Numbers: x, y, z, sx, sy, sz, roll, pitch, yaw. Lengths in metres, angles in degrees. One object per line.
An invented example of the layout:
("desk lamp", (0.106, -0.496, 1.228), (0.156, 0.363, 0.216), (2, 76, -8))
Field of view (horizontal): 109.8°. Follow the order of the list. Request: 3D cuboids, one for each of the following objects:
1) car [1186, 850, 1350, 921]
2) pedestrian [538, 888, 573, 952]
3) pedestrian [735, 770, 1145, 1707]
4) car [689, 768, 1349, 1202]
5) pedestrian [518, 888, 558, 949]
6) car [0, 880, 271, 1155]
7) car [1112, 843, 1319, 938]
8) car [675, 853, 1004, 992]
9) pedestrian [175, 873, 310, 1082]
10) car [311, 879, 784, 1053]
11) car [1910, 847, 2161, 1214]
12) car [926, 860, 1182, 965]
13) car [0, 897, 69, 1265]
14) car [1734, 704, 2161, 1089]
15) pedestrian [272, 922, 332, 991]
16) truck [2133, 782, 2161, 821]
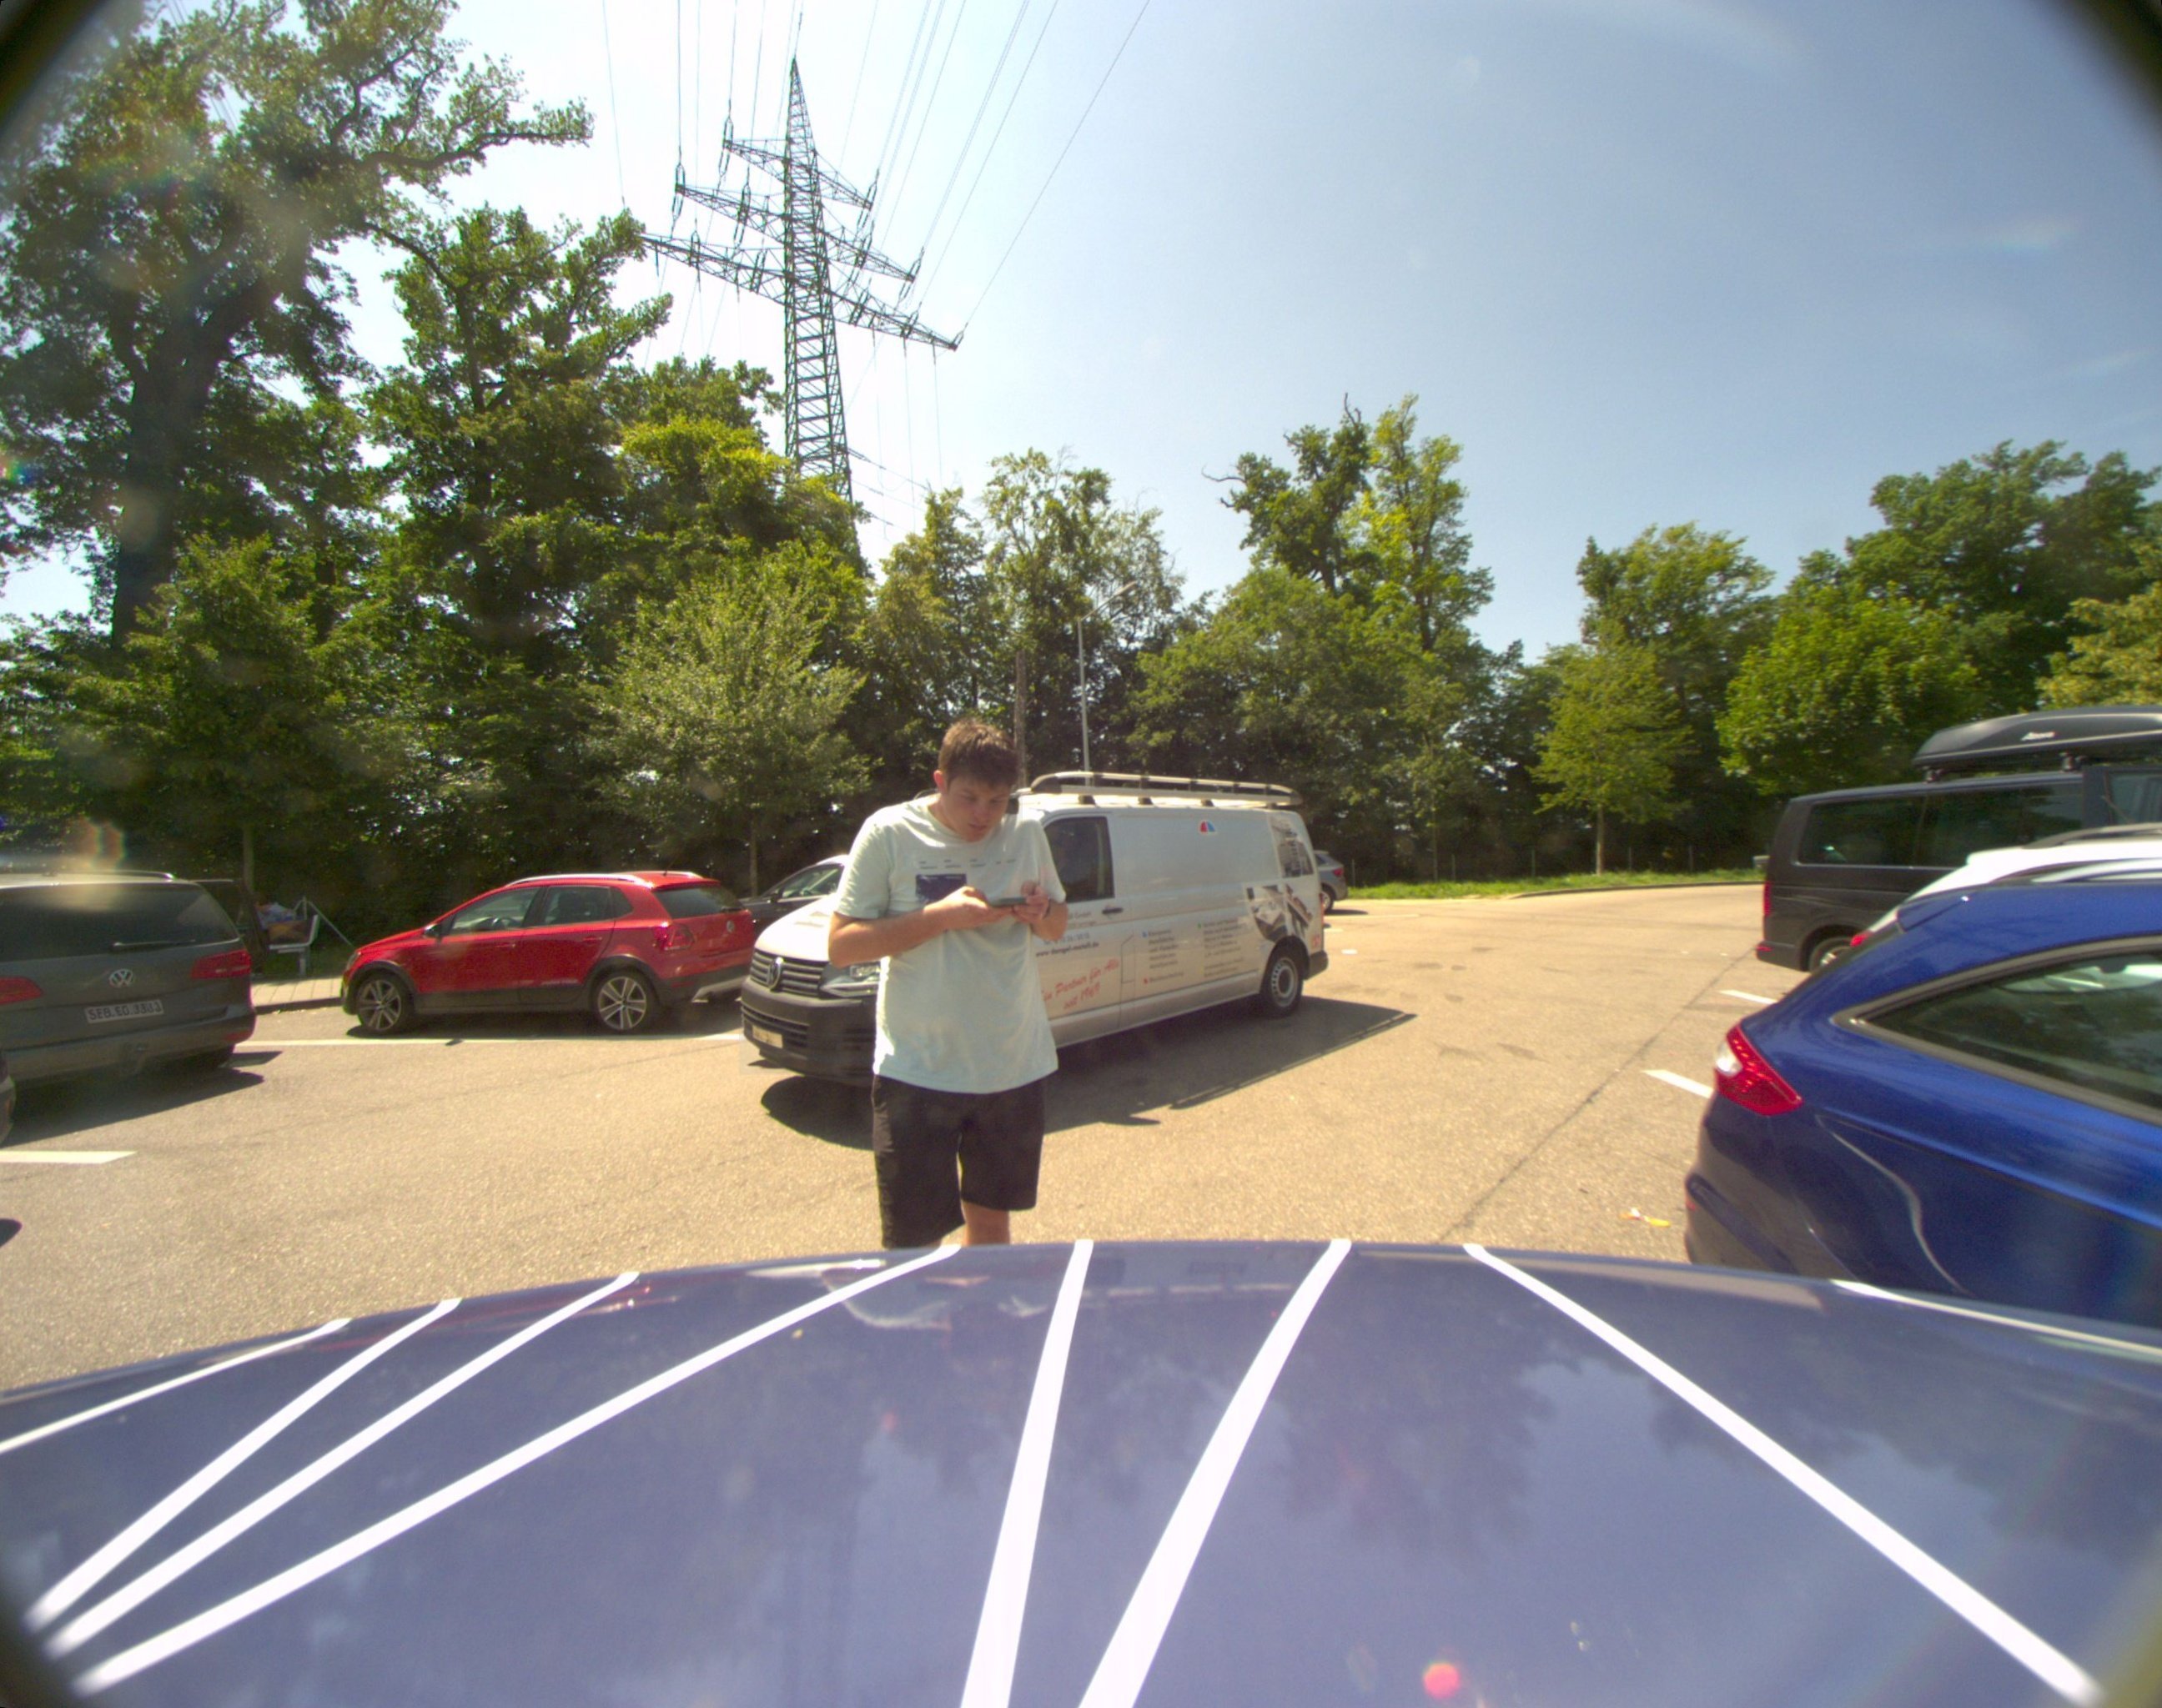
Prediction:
("car", (4.355, 0.730, 18.141), (3.585, 1.493, 1.707), (-2, 1, 8))
("pedestrian", (-10.070, 1.264, 14.563), (0.366, 1.186, 0.356), (-2, 1, 21))
("pedestrian", (-0.357, 0.754, 1.853), (0.741, 1.818, 0.613), (-2, 0, -34))
("car", (0.049, 0.599, 6.224), (5.445, 2.092, 1.839), (-2, 1, -45))
("pedestrian", (-10.977, 1.291, 15.374), (0.413, 1.186, 0.443), (-2, 1, 12))
("car", (-8.427, 1.090, 5.438), (3.903, 1.607, 1.705), (-2, 1, 11))
("car", (2.620, 0.704, 15.378), (3.850, 1.678, 1.755), (-2, 0, 4))
("car", (-3.098, 0.865, 10.325), (3.866, 1.607, 1.709), (-2, 0, 0))
("pedestrian", (-7.328, 1.042, 6.655), (0.481, 1.712, 0.589), (-2, 1, 22))
("car", (-5.231, 1.069, 7.709), (3.745, 1.458, 1.621), (-2, 0, 7))
("car", (4.716, 0.653, 2.144), (1.344, 1.352, 3.114), (-2, 0, 1))
("car", (-0.352, 0.889, 12.194), (3.773, 1.445, 1.848), (-2, 0, 4))
("car", (-6.405, 1.041, 1.936), (4.173, 1.607, 1.835), (-2, 0, -27))
("car", (7.292, 0.238, 5.235), (1.788, 2.304, 4.084), (-2, 0, -5))
("pedestrian", (-10.777, 1.400, 10.523), (0.503, 0.874, 0.512), (-2, 0, -39))
("truck", (40.210, -1.976, 27.116), (1.168, 1.367, 2.882), (-2, -1, -19))
